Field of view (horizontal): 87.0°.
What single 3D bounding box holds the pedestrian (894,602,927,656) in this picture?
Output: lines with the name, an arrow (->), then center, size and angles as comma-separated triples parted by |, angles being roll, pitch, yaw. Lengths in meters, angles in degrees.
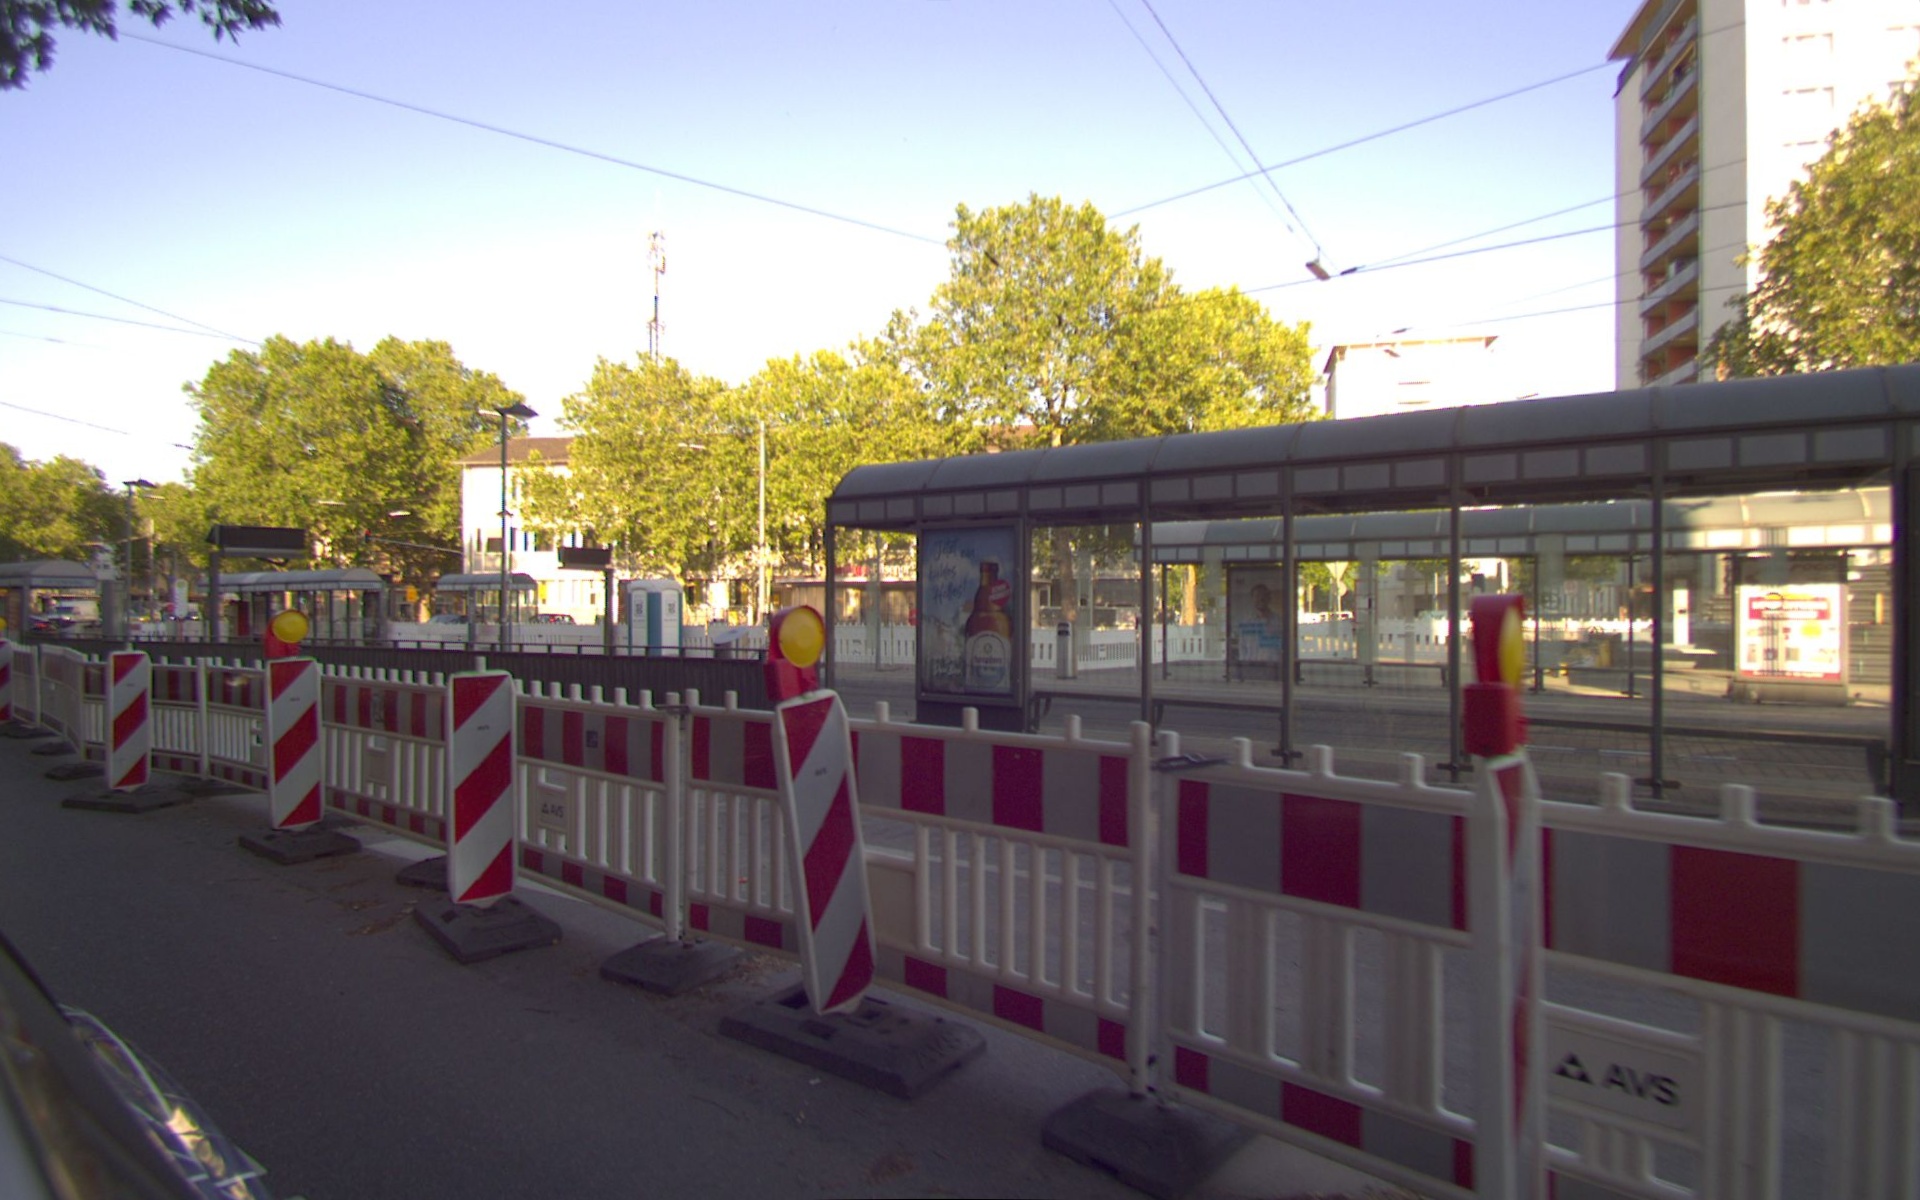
pedestrian -> -1.891, 1.088, 38.618 | 0.883, 2.029, 0.875 | -1, -1, 40

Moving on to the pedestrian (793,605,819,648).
pedestrian -> -7.402, 1.266, 48.567 | 0.883, 2.029, 0.875 | -1, -1, 29

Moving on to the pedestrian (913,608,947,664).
pedestrian -> -1.101, 1.297, 36.872 | 0.883, 2.029, 0.875 | -1, -1, 40

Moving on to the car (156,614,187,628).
car -> -90.242, 2.383, 115.891 | 1.677, 1.599, 3.718 | 0, 0, -19

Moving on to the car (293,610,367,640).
car -> -34.984, 1.387, 56.241 | 3.359, 1.586, 1.675 | -1, -1, 14

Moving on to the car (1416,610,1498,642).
car -> 32.739, 1.721, 66.808 | 4.392, 2.029, 1.995 | -1, -1, 8
